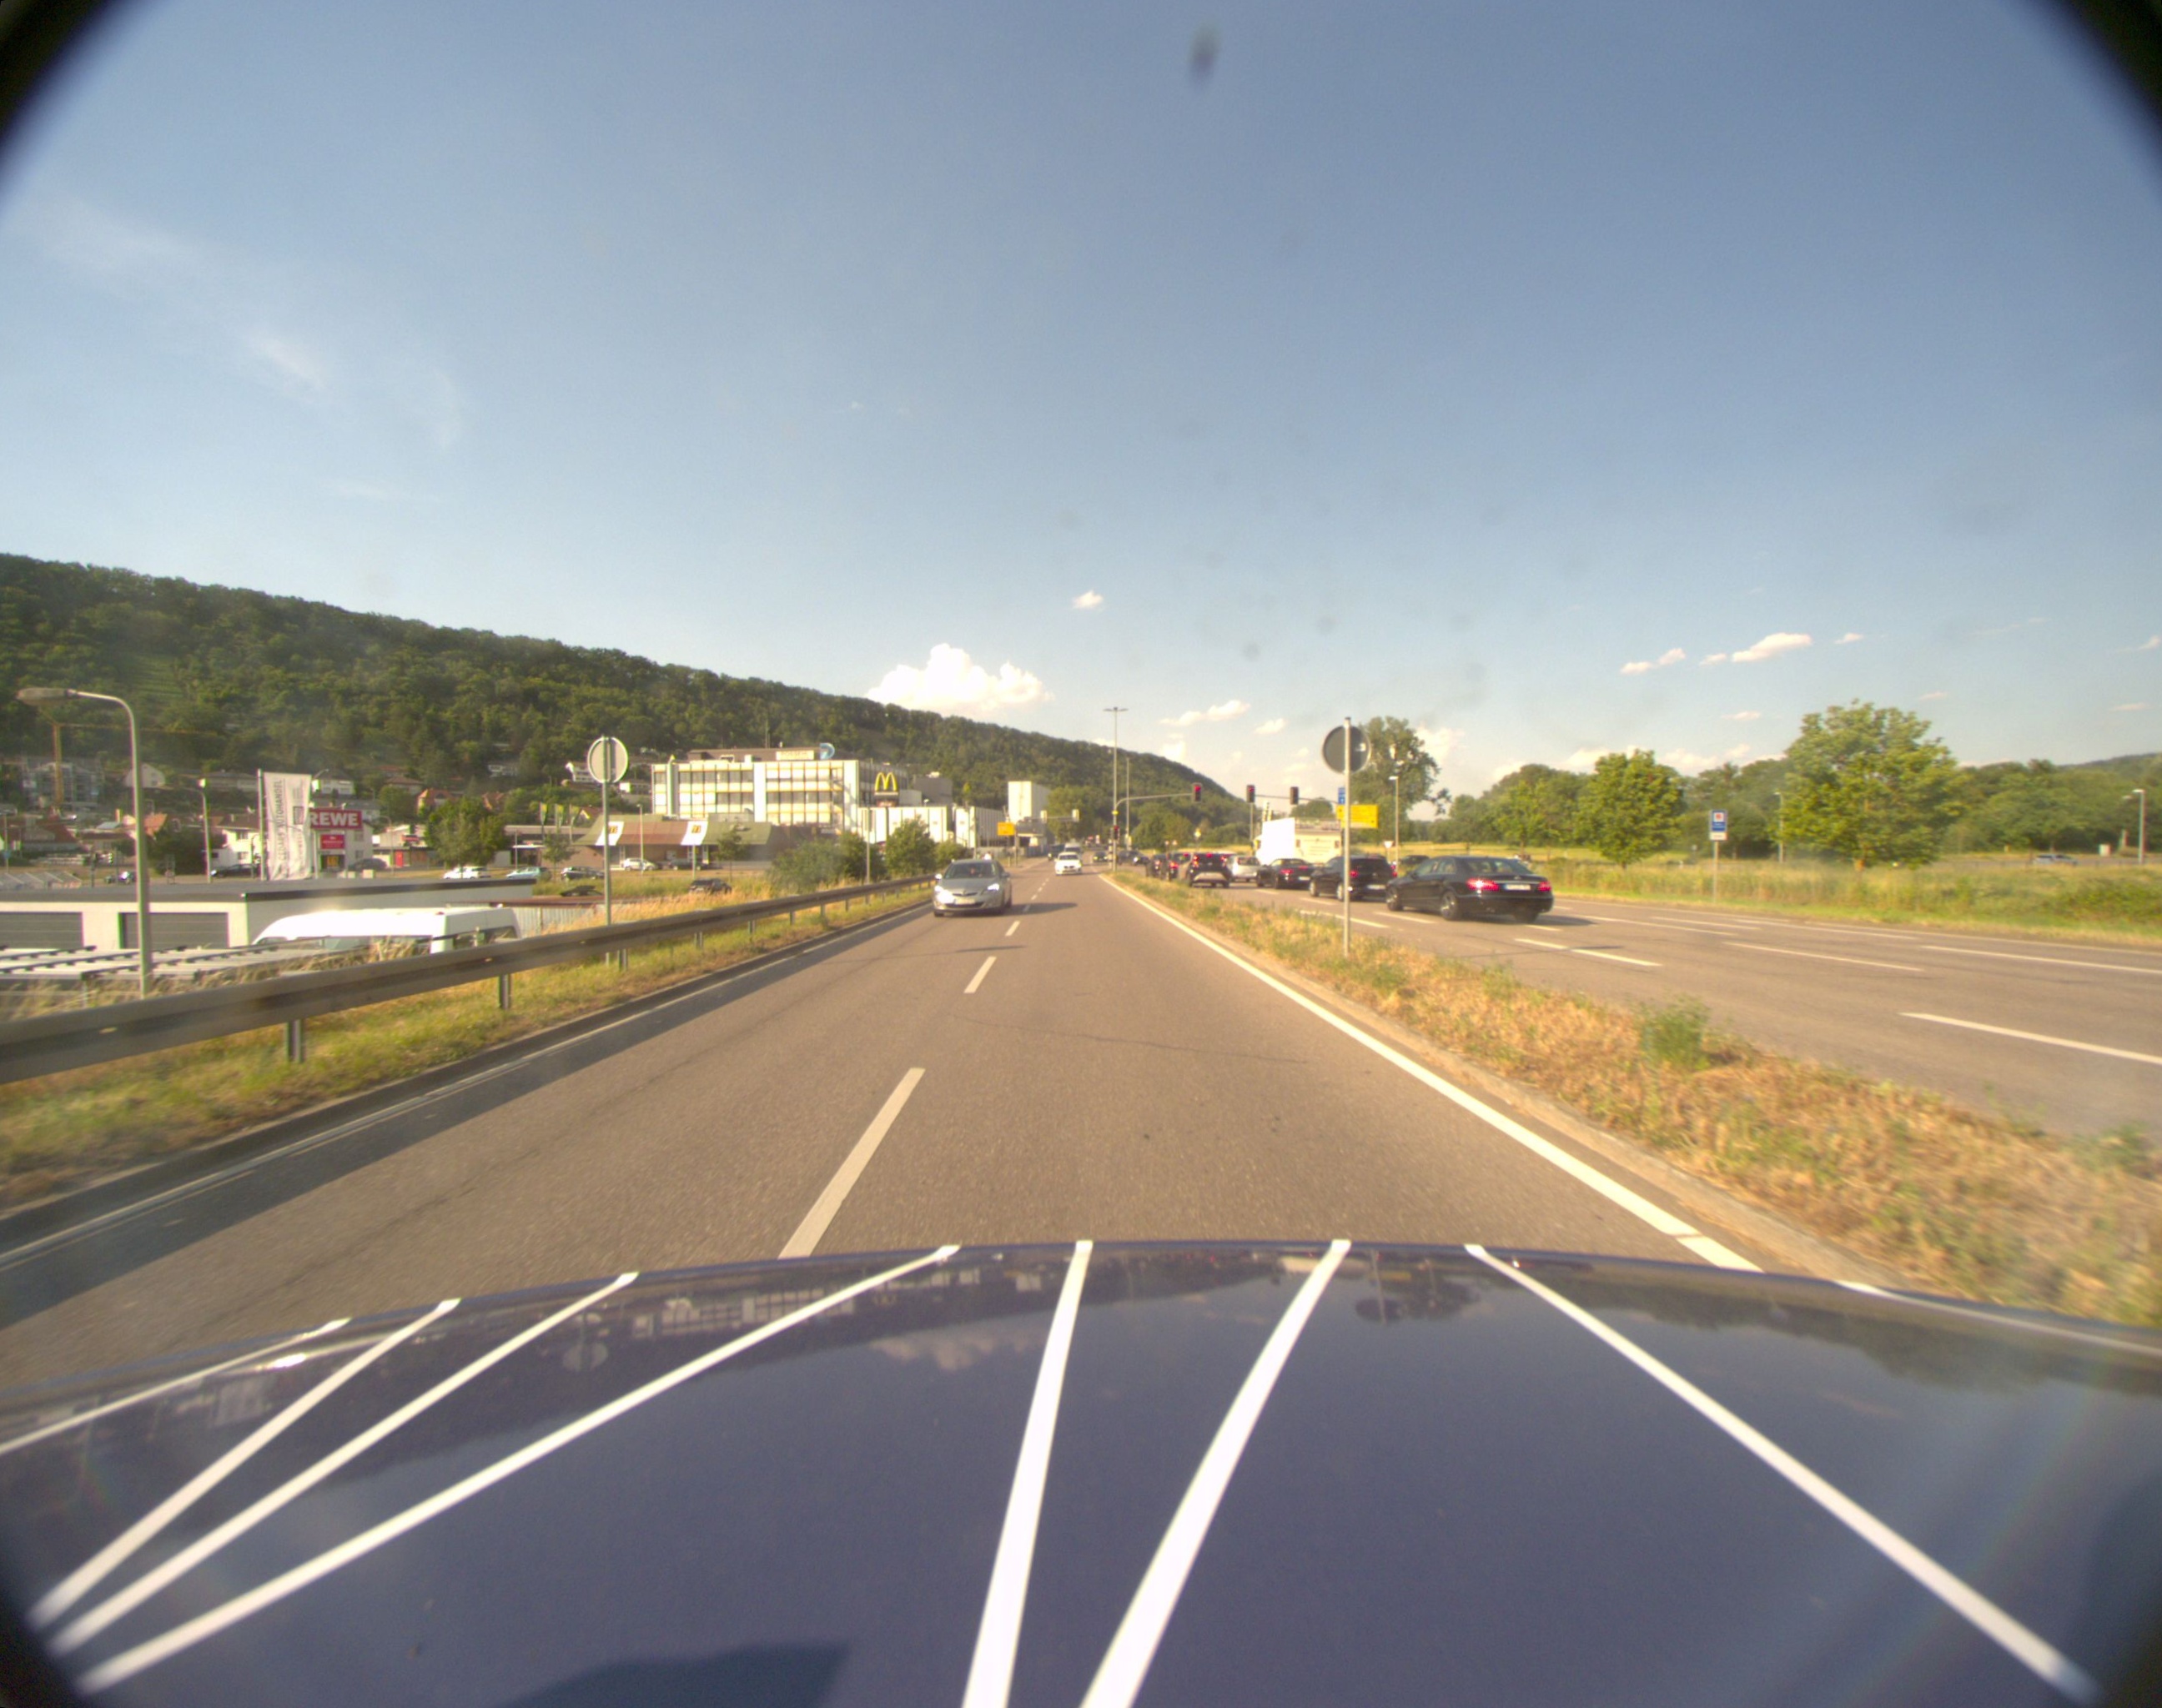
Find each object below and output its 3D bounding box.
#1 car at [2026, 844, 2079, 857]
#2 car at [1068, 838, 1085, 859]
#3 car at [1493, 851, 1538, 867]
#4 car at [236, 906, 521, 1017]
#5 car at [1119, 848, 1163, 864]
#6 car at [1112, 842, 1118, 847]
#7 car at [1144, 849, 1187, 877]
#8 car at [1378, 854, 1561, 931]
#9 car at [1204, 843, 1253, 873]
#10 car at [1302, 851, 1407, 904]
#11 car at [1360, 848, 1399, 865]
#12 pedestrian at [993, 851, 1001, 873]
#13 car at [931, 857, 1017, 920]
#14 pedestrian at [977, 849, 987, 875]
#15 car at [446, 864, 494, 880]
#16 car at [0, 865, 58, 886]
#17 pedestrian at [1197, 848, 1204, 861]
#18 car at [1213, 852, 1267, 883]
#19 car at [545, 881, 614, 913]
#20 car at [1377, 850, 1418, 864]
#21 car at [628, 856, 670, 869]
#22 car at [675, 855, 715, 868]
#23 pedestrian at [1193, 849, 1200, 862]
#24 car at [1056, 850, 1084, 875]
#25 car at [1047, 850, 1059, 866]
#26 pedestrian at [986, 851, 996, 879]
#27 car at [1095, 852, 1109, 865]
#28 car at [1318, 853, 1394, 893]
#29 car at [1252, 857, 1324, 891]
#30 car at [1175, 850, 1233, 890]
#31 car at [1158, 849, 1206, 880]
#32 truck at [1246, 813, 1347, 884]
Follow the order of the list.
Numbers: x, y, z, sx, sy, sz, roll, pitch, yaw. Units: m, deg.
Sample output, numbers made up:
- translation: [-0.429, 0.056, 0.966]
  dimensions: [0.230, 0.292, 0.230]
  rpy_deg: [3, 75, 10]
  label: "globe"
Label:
- translation: [105.403, -0.351, 82.446]
  dimensions: [3.748, 1.360, 1.767]
  rpy_deg: [0, 2, -5]
  label: "car"
- translation: [-0.541, -0.649, 85.230]
  dimensions: [1.795, 2.156, 4.587]
  rpy_deg: [-1, 2, -2]
  label: "car"
- translation: [48.805, 0.535, 85.373]
  dimensions: [4.258, 1.609, 1.591]
  rpy_deg: [-2, 2, -4]
  label: "car"
- translation: [-14.058, 2.111, 15.383]
  dimensions: [3.996, 1.806, 1.834]
  rpy_deg: [-2, 2, 2]
  label: "car"
- translation: [6.205, 0.200, 79.018]
  dimensions: [4.134, 1.565, 1.862]
  rpy_deg: [-2, 2, 27]
  label: "car"
- translation: [10.820, -3.050, 240.997]
  dimensions: [1.712, 1.426, 4.143]
  rpy_deg: [1, 2, 1]
  label: "car"
- translation: [4.945, 0.512, 45.058]
  dimensions: [1.795, 1.458, 4.927]
  rpy_deg: [-1, 1, -2]
  label: "car"
- translation: [8.682, 0.771, 17.518]
  dimensions: [1.720, 1.455, 4.725]
  rpy_deg: [1, 0, -1]
  label: "car"
- translation: [8.995, 0.206, 46.755]
  dimensions: [1.999, 1.669, 4.805]
  rpy_deg: [0, 2, -1]
  label: "car"
- translation: [8.641, 0.689, 24.395]
  dimensions: [1.706, 1.465, 4.243]
  rpy_deg: [1, 1, -2]
  label: "car"
- translation: [31.298, 0.296, 79.753]
  dimensions: [3.692, 1.609, 1.593]
  rpy_deg: [-2, 2, 20]
  label: "car"
- translation: [-6.127, 0.555, 55.369]
  dimensions: [0.573, 1.606, 0.622]
  rpy_deg: [0, 2, -5]
  label: "pedestrian"
- translation: [-2.783, 0.855, 20.489]
  dimensions: [1.690, 1.383, 3.883]
  rpy_deg: [-1, 2, 1]
  label: "car"
- translation: [-6.888, 0.544, 53.006]
  dimensions: [0.532, 1.740, 0.537]
  rpy_deg: [3, 2, 4]
  label: "pedestrian"
- translation: [-63.450, 1.889, 78.892]
  dimensions: [3.649, 1.412, 1.690]
  rpy_deg: [-2, 2, 5]
  label: "car"
- translation: [-89.833, 1.836, 64.034]
  dimensions: [1.791, 1.646, 3.998]
  rpy_deg: [-2, 2, -1]
  label: "car"
- translation: [15.166, 0.056, 96.241]
  dimensions: [0.655, 1.597, 0.890]
  rpy_deg: [-2, 2, 21]
  label: "pedestrian"
- translation: [8.392, 0.671, 40.450]
  dimensions: [1.706, 1.397, 5.079]
  rpy_deg: [0, 1, -1]
  label: "car"
- translation: [-31.674, 2.673, 48.169]
  dimensions: [1.837, 1.693, 4.127]
  rpy_deg: [0, 1, -4]
  label: "car"
- translation: [35.211, 0.301, 84.551]
  dimensions: [3.881, 1.412, 1.765]
  rpy_deg: [-3, 2, -14]
  label: "car"
- translation: [-52.565, 0.997, 92.550]
  dimensions: [3.996, 1.449, 1.860]
  rpy_deg: [0, 2, 1]
  label: "car"
- translation: [-46.948, 0.934, 92.463]
  dimensions: [3.996, 1.449, 1.860]
  rpy_deg: [0, 2, 2]
  label: "car"
- translation: [14.739, 0.162, 97.208]
  dimensions: [0.655, 1.597, 0.838]
  rpy_deg: [-2, 2, 21]
  label: "pedestrian"
- translation: [-0.747, 0.557, 54.478]
  dimensions: [1.825, 1.552, 3.999]
  rpy_deg: [-2, 2, 1]
  label: "car"
- translation: [-4.263, 0.579, 115.407]
  dimensions: [1.795, 2.156, 4.587]
  rpy_deg: [-1, 2, -2]
  label: "car"
- translation: [-6.141, 0.739, 51.964]
  dimensions: [0.620, 1.872, 0.861]
  rpy_deg: [0, 2, -1]
  label: "pedestrian"
- translation: [2.715, 0.544, 98.269]
  dimensions: [1.710, 1.423, 3.473]
  rpy_deg: [-2, 2, 1]
  label: "car"
- translation: [11.816, 0.770, 32.927]
  dimensions: [1.767, 1.520, 3.998]
  rpy_deg: [1, 2, -1]
  label: "car"
- translation: [8.743, 0.812, 32.526]
  dimensions: [1.706, 1.276, 4.817]
  rpy_deg: [1, 0, -1]
  label: "car"
- translation: [5.176, 0.622, 32.447]
  dimensions: [1.785, 1.511, 3.998]
  rpy_deg: [1, 2, -1]
  label: "car"
- translation: [5.145, 0.534, 39.165]
  dimensions: [1.785, 1.529, 4.571]
  rpy_deg: [0, -1, -1]
  label: "car"
- translation: [12.328, -0.422, 44.761]
  dimensions: [2.940, 3.669, 10.496]
  rpy_deg: [1, 2, 1]
  label: "truck"
